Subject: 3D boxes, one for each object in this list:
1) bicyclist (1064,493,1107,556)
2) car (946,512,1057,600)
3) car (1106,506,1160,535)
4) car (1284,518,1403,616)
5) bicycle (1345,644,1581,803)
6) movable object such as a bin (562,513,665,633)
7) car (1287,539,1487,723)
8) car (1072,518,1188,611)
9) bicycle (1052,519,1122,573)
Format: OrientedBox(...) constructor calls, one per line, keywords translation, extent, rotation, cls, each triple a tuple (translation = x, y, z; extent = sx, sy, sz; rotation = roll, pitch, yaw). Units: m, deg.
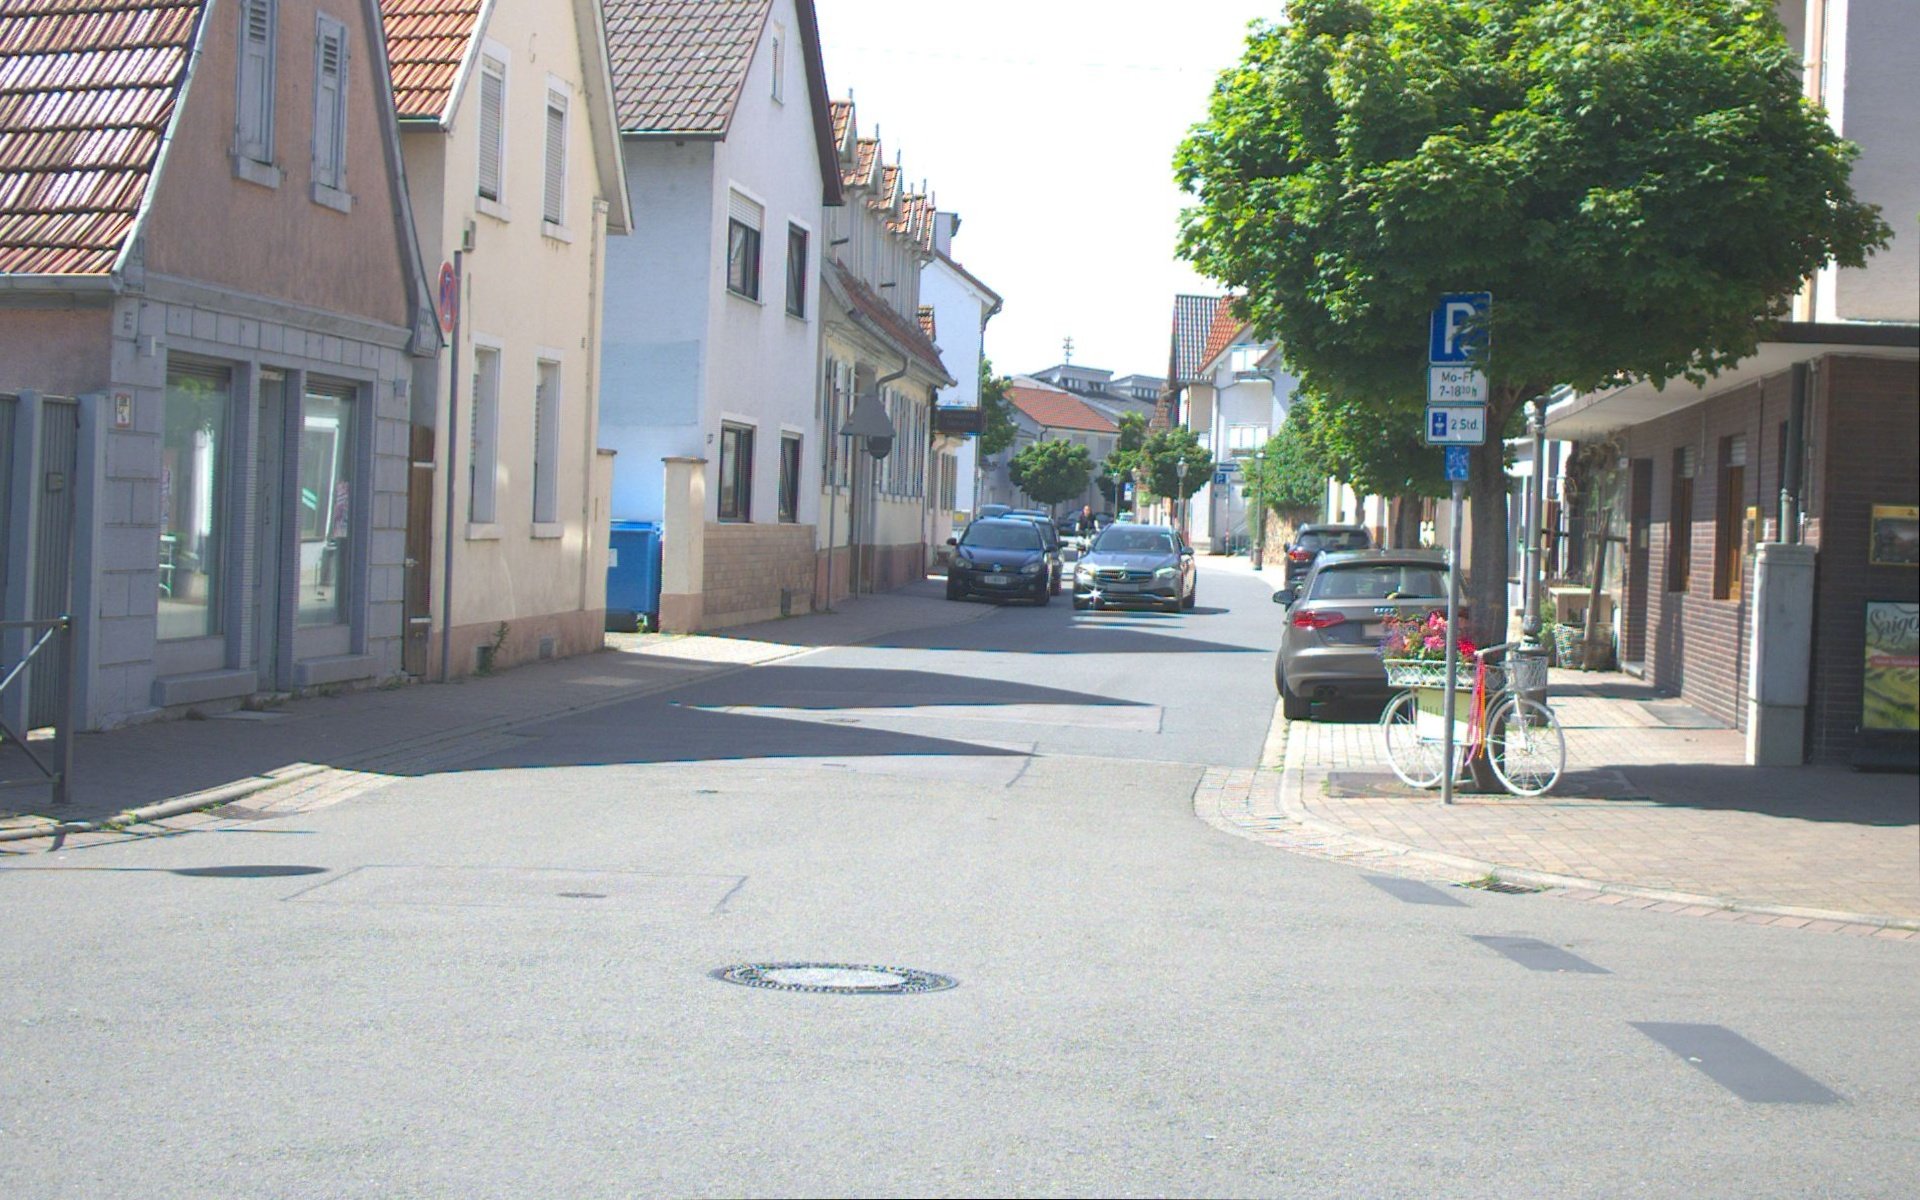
OrientedBox(translation=(3.348, -2.004, 91.577), extent=(1.046, 1.632, 1.128), rotation=(2, 1, 0), cls="bicyclist")
OrientedBox(translation=(0.773, -0.804, 61.196), extent=(1.663, 1.471, 4.134), rotation=(2, 1, 5), cls="car")
OrientedBox(translation=(9.903, -4.545, 196.545), extent=(2.029, 1.592, 4.505), rotation=(2, 1, 16), cls="car")
OrientedBox(translation=(7.031, -0.648, 63.434), extent=(2.043, 1.683, 4.841), rotation=(2, 1, 5), cls="car")
OrientedBox(translation=(3.081, 0.746, 21.147), extent=(1.413, 0.894, 0.464), rotation=(2, 2, 42), cls="bicycle")
OrientedBox(translation=(-4.048, -0.322, 40.168), extent=(1.102, 1.361, 0.389), rotation=(2, 1, 9), cls="movable object such as a bin")
OrientedBox(translation=(3.696, 0.222, 29.746), extent=(1.576, 1.449, 3.485), rotation=(2, 1, 7), cls="car")
OrientedBox(translation=(3.015, -0.660, 60.349), extent=(1.909, 1.476, 4.844), rotation=(2, 2, 3), cls="car")
OrientedBox(translation=(3.365, -1.452, 91.697), extent=(1.623, 1.366, 3.926), rotation=(2, 1, -1), cls="bicycle")
